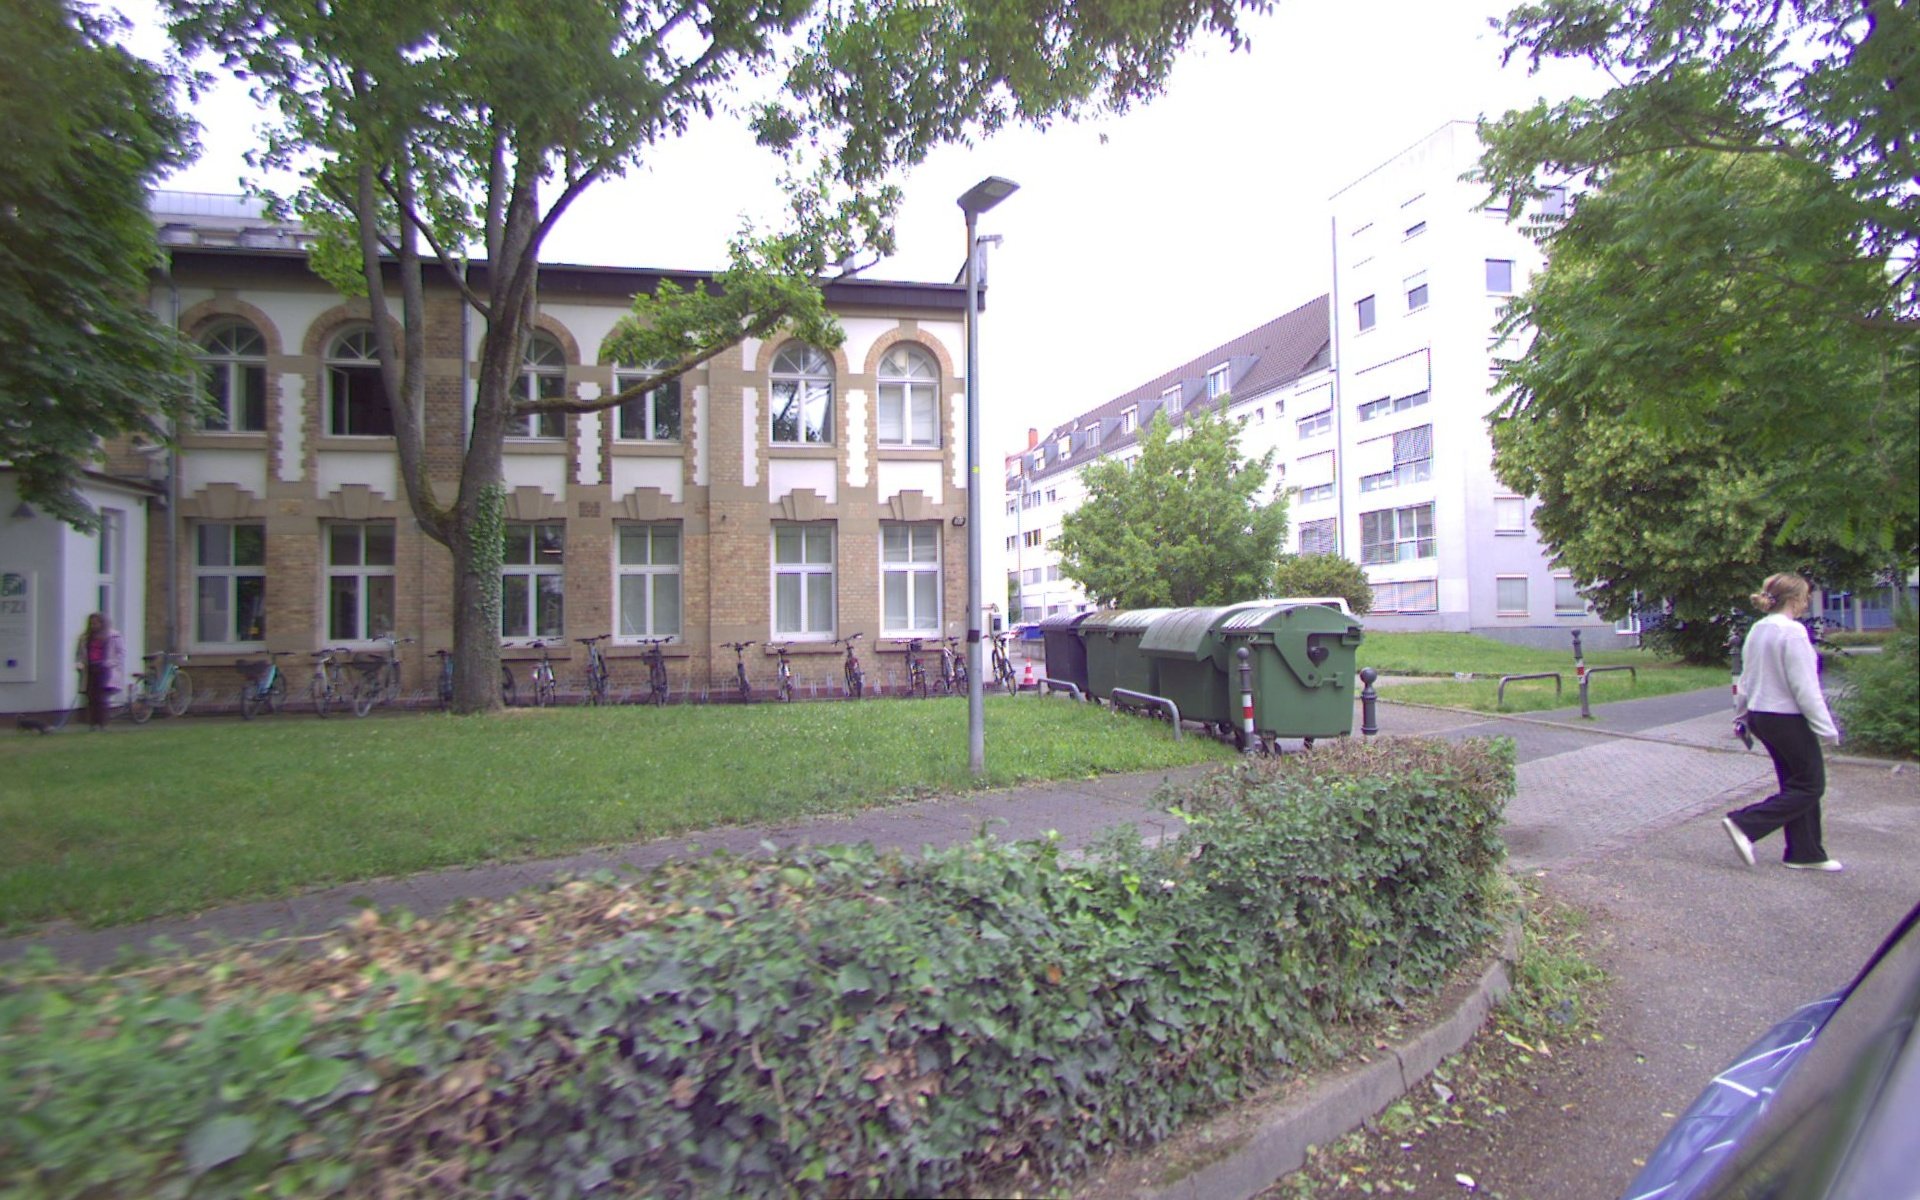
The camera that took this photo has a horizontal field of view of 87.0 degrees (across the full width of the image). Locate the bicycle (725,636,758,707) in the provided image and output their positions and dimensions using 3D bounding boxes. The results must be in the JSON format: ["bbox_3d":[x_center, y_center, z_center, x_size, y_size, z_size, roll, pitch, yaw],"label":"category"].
[{"bbox_3d":[-3.766,1.201,17.498,0.451,1.129,1.747,-1,-1,-9],"label":"bicycle"}]

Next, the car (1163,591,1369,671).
[{"bbox_3d":[7.911,0.824,26.382,4.675,1.898,1.903,-1,-4,-9],"label":"car"}]

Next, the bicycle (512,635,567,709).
[{"bbox_3d":[-6.965,1.168,16.823,0.451,1.129,1.747,-1,-1,-9],"label":"bicycle"}]

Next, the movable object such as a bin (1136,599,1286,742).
[{"bbox_3d":[2.765,0.744,11.285,1.085,1.469,1.288,-1,-2,-16],"label":"movable object such as a bin"}]

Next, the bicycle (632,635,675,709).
[{"bbox_3d":[-5.126,1.169,16.997,0.451,1.129,1.747,-1,-1,-9],"label":"bicycle"}]

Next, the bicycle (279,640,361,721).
[{"bbox_3d":[-10.204,1.251,16.194,0.451,1.128,1.747,-1,1,-9],"label":"bicycle"}]

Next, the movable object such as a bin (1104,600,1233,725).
[{"bbox_3d":[2.609,0.758,12.792,1.085,1.469,1.297,-1,-2,-16],"label":"movable object such as a bin"}]

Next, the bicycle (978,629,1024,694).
[{"bbox_3d":[0.733,1.099,18.604,0.451,1.129,1.747,-1,-1,-10],"label":"bicycle"}]

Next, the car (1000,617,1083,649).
[{"bbox_3d":[4.632,1.861,57.553,4.250,1.757,2.004,-1,-1,-17],"label":"car"}]

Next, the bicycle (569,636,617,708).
[{"bbox_3d":[-6.186,1.185,17.131,0.451,1.129,1.747,-1,-1,-9],"label":"bicycle"}]

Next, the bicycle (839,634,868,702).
[{"bbox_3d":[-1.903,1.178,17.984,0.451,1.129,1.746,-1,-1,-7],"label":"bicycle"}]

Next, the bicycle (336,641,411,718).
[{"bbox_3d":[-9.430,1.245,16.334,0.451,1.129,1.747,-1,-1,-9],"label":"bicycle"}]

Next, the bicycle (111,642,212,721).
[{"bbox_3d":[-12.485,1.241,15.887,0.451,1.129,1.747,-1,-1,-9],"label":"bicycle"}]

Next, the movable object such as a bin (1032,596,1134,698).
[{"bbox_3d":[1.881,0.707,15.682,1.085,1.469,1.365,-1,-2,-17],"label":"movable object such as a bin"}]

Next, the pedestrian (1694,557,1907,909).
[{"bbox_3d":[4.653,0.688,5.664,0.744,1.804,0.656,-2,-1,28],"label":"pedestrian"}]

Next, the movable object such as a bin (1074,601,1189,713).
[{"bbox_3d":[2.381,0.773,14.224,1.085,1.469,1.329,-1,-2,-16],"label":"movable object such as a bin"}]

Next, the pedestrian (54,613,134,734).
[{"bbox_3d":[-11.888,0.984,13.907,0.614,1.607,0.605,0,-2,-12],"label":"pedestrian"}]

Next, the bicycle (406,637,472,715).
[{"bbox_3d":[-8.532,1.215,16.636,0.451,1.129,1.747,-1,0,-9],"label":"bicycle"}]

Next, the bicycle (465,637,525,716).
[{"bbox_3d":[-7.671,1.236,16.745,0.451,1.128,1.748,-1,1,-9],"label":"bicycle"}]

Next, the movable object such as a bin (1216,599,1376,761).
[{"bbox_3d":[3.216,0.734,9.836,1.051,1.452,1.275,-1,-1,-2],"label":"movable object such as a bin"}]

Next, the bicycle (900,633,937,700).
[{"bbox_3d":[-0.765,1.166,18.236,0.451,1.129,1.747,-1,-1,-9],"label":"bicycle"}]

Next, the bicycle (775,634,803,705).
[{"bbox_3d":[-2.981,1.180,17.652,0.451,1.129,1.747,-1,-1,-9],"label":"bicycle"}]

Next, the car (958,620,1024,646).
[{"bbox_3d":[2.225,2.333,72.486,4.250,1.757,2.004,-1,-1,-17],"label":"car"}]

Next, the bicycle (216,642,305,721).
[{"bbox_3d":[-11.055,1.257,16.048,0.451,1.129,1.747,-1,-1,-9],"label":"bicycle"}]

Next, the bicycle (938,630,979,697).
[{"bbox_3d":[-0.037,1.122,18.427,0.451,1.129,1.747,-1,-1,-9],"label":"bicycle"}]

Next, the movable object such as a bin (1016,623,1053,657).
[{"bbox_3d":[3.026,1.625,41.262,1.156,1.324,1.229,-1,-2,-12],"label":"movable object such as a bin"}]
